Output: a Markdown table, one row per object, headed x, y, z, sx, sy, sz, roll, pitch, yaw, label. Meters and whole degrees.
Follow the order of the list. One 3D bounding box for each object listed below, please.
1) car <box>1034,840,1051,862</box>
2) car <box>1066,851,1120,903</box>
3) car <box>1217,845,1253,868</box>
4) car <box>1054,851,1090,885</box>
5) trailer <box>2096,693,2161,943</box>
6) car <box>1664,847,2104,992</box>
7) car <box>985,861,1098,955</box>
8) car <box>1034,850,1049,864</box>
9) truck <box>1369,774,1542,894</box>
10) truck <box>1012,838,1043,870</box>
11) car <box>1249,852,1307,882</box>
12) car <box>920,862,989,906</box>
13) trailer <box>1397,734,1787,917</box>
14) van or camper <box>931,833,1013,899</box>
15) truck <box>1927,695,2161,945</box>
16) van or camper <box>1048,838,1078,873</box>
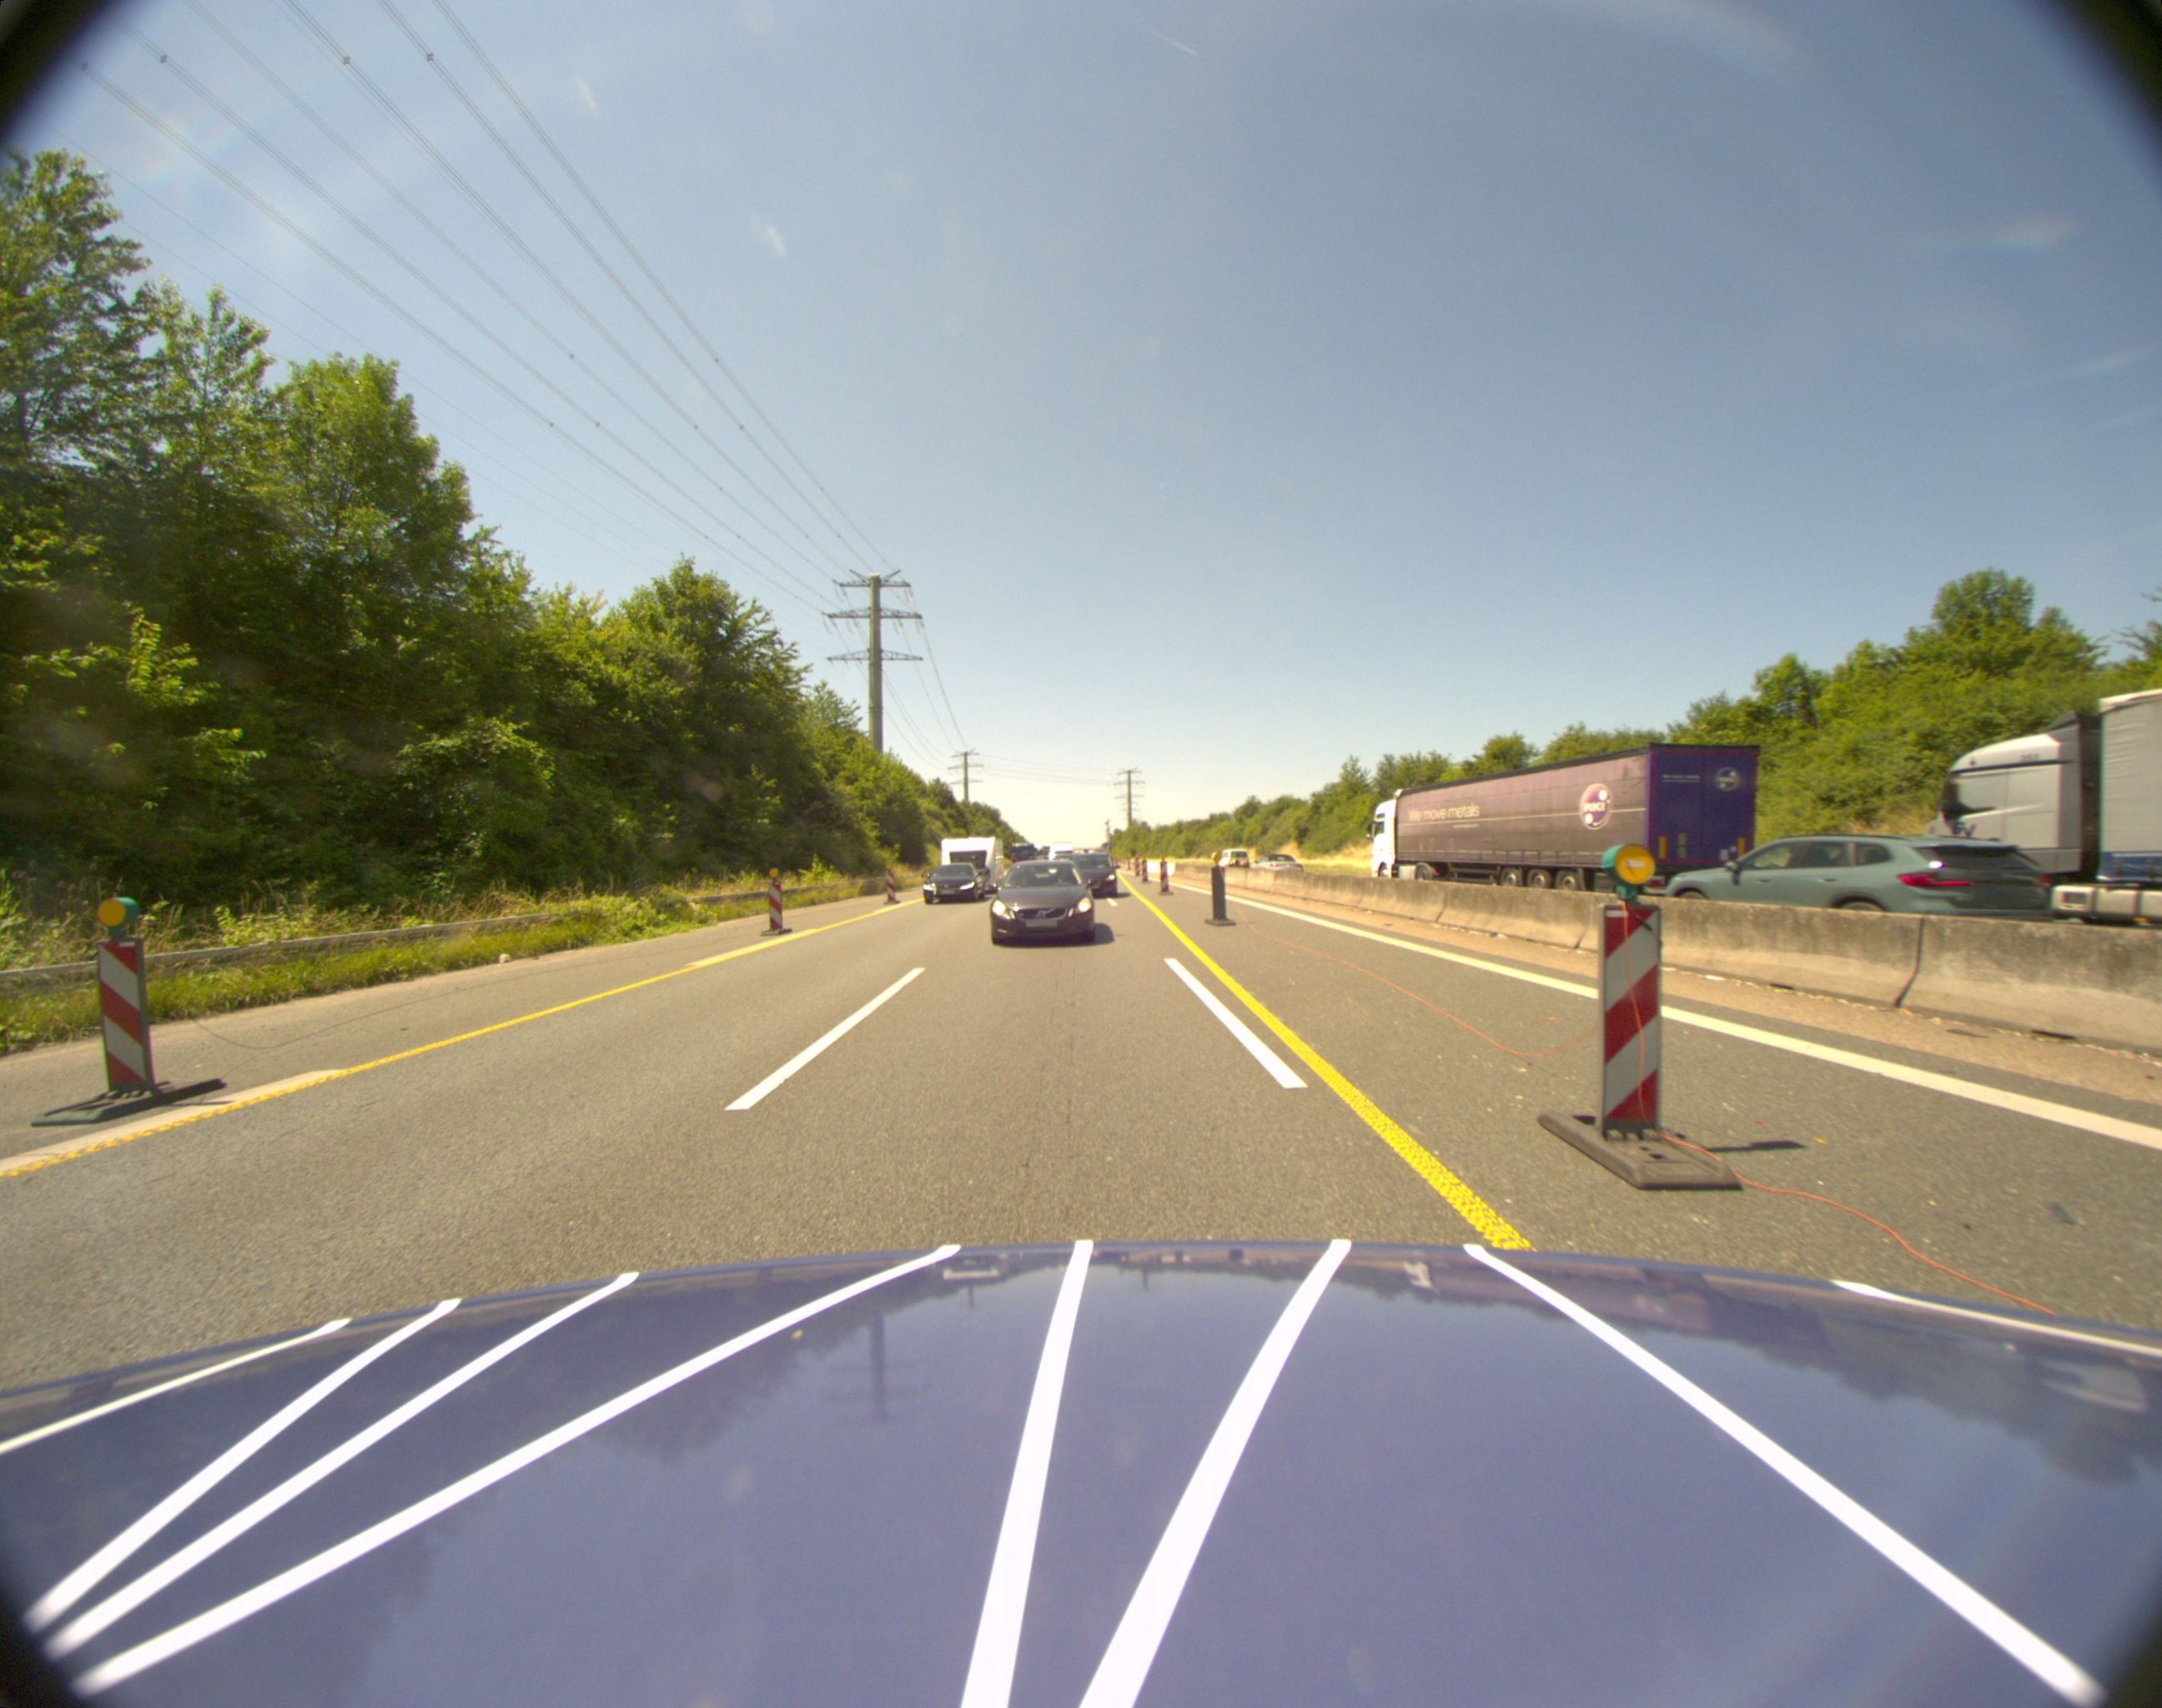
| x | y | z | sx | sy | sz | roll | pitch | yaw | label |
| --- | --- | --- | --- | --- | --- | --- | --- | --- | --- |
| -6.962 | -0.544 | 138.911 | 2.397 | 3.779 | 10.272 | -3 | 0 | 1 | car |
| 0.454 | 0.747 | 27.166 | 1.675 | 1.619 | 4.691 | -4 | 0 | 1 | car |
| 12.684 | 0.161 | 62.843 | 1.871 | 1.782 | 5.454 | -1 | 0 | 1 | car |
| -0.436 | 0.727 | 40.796 | 1.744 | 1.658 | 4.157 | -2 | 0 | 1 | car |
| 19.086 | -0.551 | 6.247 | 2.961 | 4.038 | 13.635 | 1 | 0 | -1 | trailer |
| 11.242 | 0.775 | 11.234 | 1.846 | 1.704 | 4.395 | -1 | 0 | 0 | car |
| -0.644 | 0.904 | 14.464 | 1.799 | 1.433 | 4.000 | -2 | 0 | 0 | car |
| -5.592 | 0.414 | 107.164 | 1.850 | 1.810 | 3.925 | -3 | 0 | 0 | car |
| 14.551 | -0.713 | 30.334 | 3.172 | 4.200 | 7.414 | 0 | 0 | -1 | truck |
| -5.732 | -0.023 | 82.969 | 2.431 | 3.122 | 7.648 | -4 | 0 | 2 | truck |
| 10.098 | 0.616 | 39.312 | 1.767 | 1.462 | 4.633 | -1 | 0 | -1 | car |
| -4.586 | 1.045 | 28.173 | 1.800 | 1.399 | 4.209 | -2 | 0 | 0 | car |
| 14.647 | -0.679 | 24.360 | 3.168 | 4.155 | 13.682 | -1 | 0 | -1 | trailer |
| -4.717 | 0.468 | 34.499 | 2.432 | 2.549 | 8.416 | -2 | 0 | 0 | van or camper |
| 18.971 | -0.558 | 13.087 | 2.953 | 4.053 | 5.195 | 0 | 0 | -1 | truck |
| -1.339 | 0.103 | 58.284 | 1.998 | 2.604 | 5.629 | -1 | 0 | 1 | van or camper |
